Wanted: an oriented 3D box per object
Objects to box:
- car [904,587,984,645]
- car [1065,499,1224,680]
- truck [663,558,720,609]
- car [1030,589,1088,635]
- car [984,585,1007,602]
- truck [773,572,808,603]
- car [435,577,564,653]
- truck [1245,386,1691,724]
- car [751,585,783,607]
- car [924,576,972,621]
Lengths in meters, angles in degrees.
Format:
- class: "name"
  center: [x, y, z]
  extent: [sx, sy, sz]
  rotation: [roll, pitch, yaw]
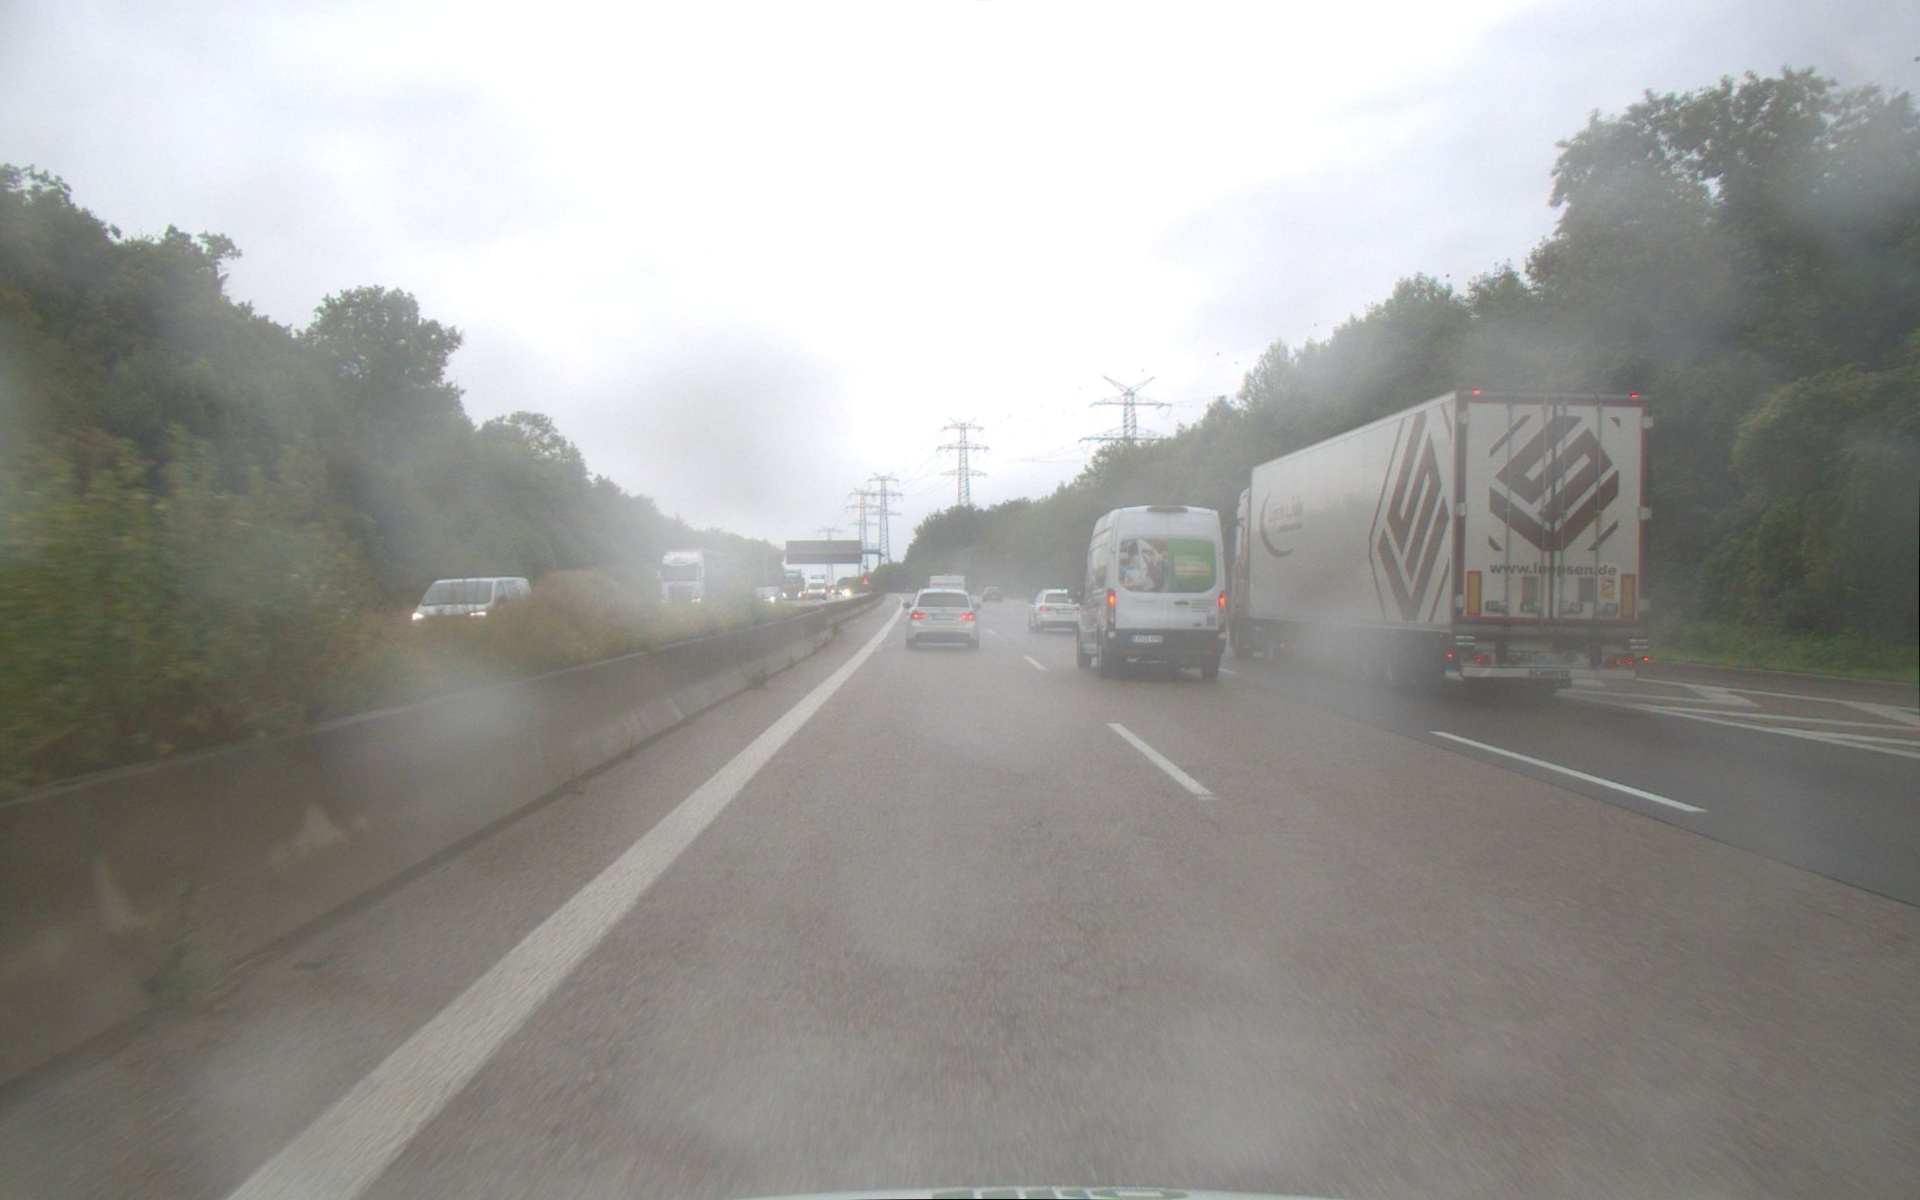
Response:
- class: "car"
  center: [-0.384, 0.345, 39.788]
  extent: [1.828, 1.310, 3.999]
  rotation: [0, 1, -1]
- class: "car"
  center: [3.123, -0.194, 28.795]
  extent: [1.955, 2.914, 3.995]
  rotation: [0, 1, -6]
- class: "truck"
  center: [-17.509, -1.093, 108.320]
  extent: [2.649, 3.223, 9.797]
  rotation: [0, 1, -3]
- class: "car"
  center: [3.301, 0.385, 54.766]
  extent: [1.818, 1.447, 4.002]
  rotation: [0, 0, 4]
- class: "car"
  center: [3.299, -0.612, 153.681]
  extent: [1.952, 1.512, 4.001]
  rotation: [-2, -1, 3]
- class: "truck"
  center: [-22.269, -1.641, 216.442]
  extent: [3.981, 3.813, 16.839]
  rotation: [0, 1, -8]
- class: "car"
  center: [-11.422, 0.341, 41.308]
  extent: [1.952, 1.803, 4.001]
  rotation: [0, 1, 2]
- class: "truck"
  center: [7.776, -0.566, 28.213]
  extent: [3.529, 4.408, 13.198]
  rotation: [0, 0, 0]
- class: "car"
  center: [-13.080, -0.268, 112.301]
  extent: [1.718, 1.467, 3.999]
  rotation: [0, 1, -1]
- class: "car"
  center: [-0.473, -0.085, 69.515]
  extent: [1.807, 1.803, 4.002]
  rotation: [0, 1, 3]
